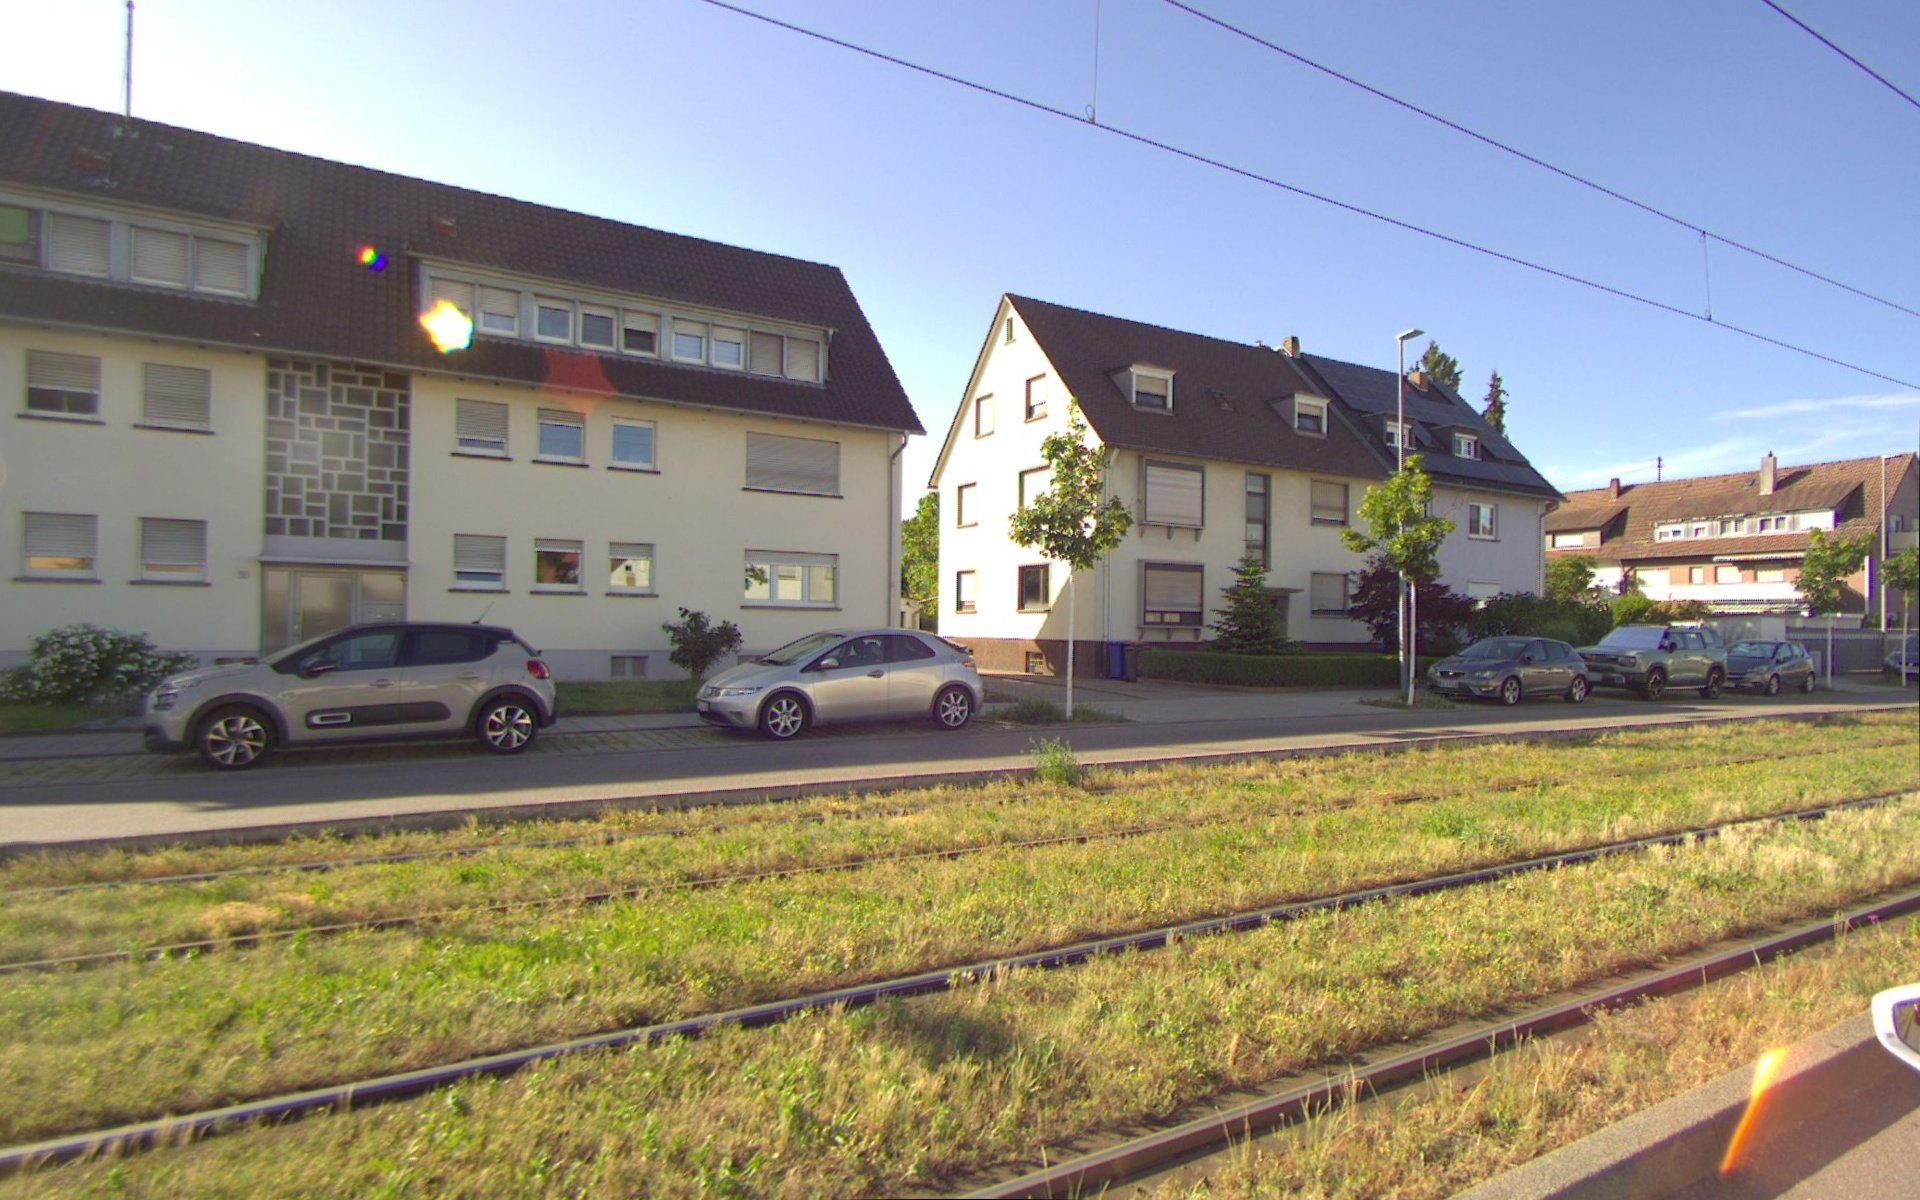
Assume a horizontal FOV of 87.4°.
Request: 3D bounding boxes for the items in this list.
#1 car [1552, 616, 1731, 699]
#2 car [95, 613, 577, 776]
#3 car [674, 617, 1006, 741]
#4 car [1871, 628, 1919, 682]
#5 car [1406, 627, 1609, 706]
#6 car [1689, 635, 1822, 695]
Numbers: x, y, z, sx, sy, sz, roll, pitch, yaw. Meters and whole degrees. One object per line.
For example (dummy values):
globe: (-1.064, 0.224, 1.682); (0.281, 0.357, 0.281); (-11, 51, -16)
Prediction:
car: (17.065, 1.399, 25.087); (4.783, 1.847, 1.737); (2, 0, -30)
car: (-6.725, 0.962, 11.291); (4.267, 1.492, 1.679); (2, 0, -32)
car: (-1.635, 1.052, 14.328); (4.393, 1.495, 1.679); (2, 0, -32)
car: (33.564, 1.890, 34.598); (4.787, 1.707, 1.811); (2, 0, -29)
car: (12.366, 1.457, 22.627); (4.503, 1.561, 1.951); (2, 0, -30)
car: (22.406, 1.795, 28.261); (4.005, 1.510, 1.667); (2, 0, -32)
